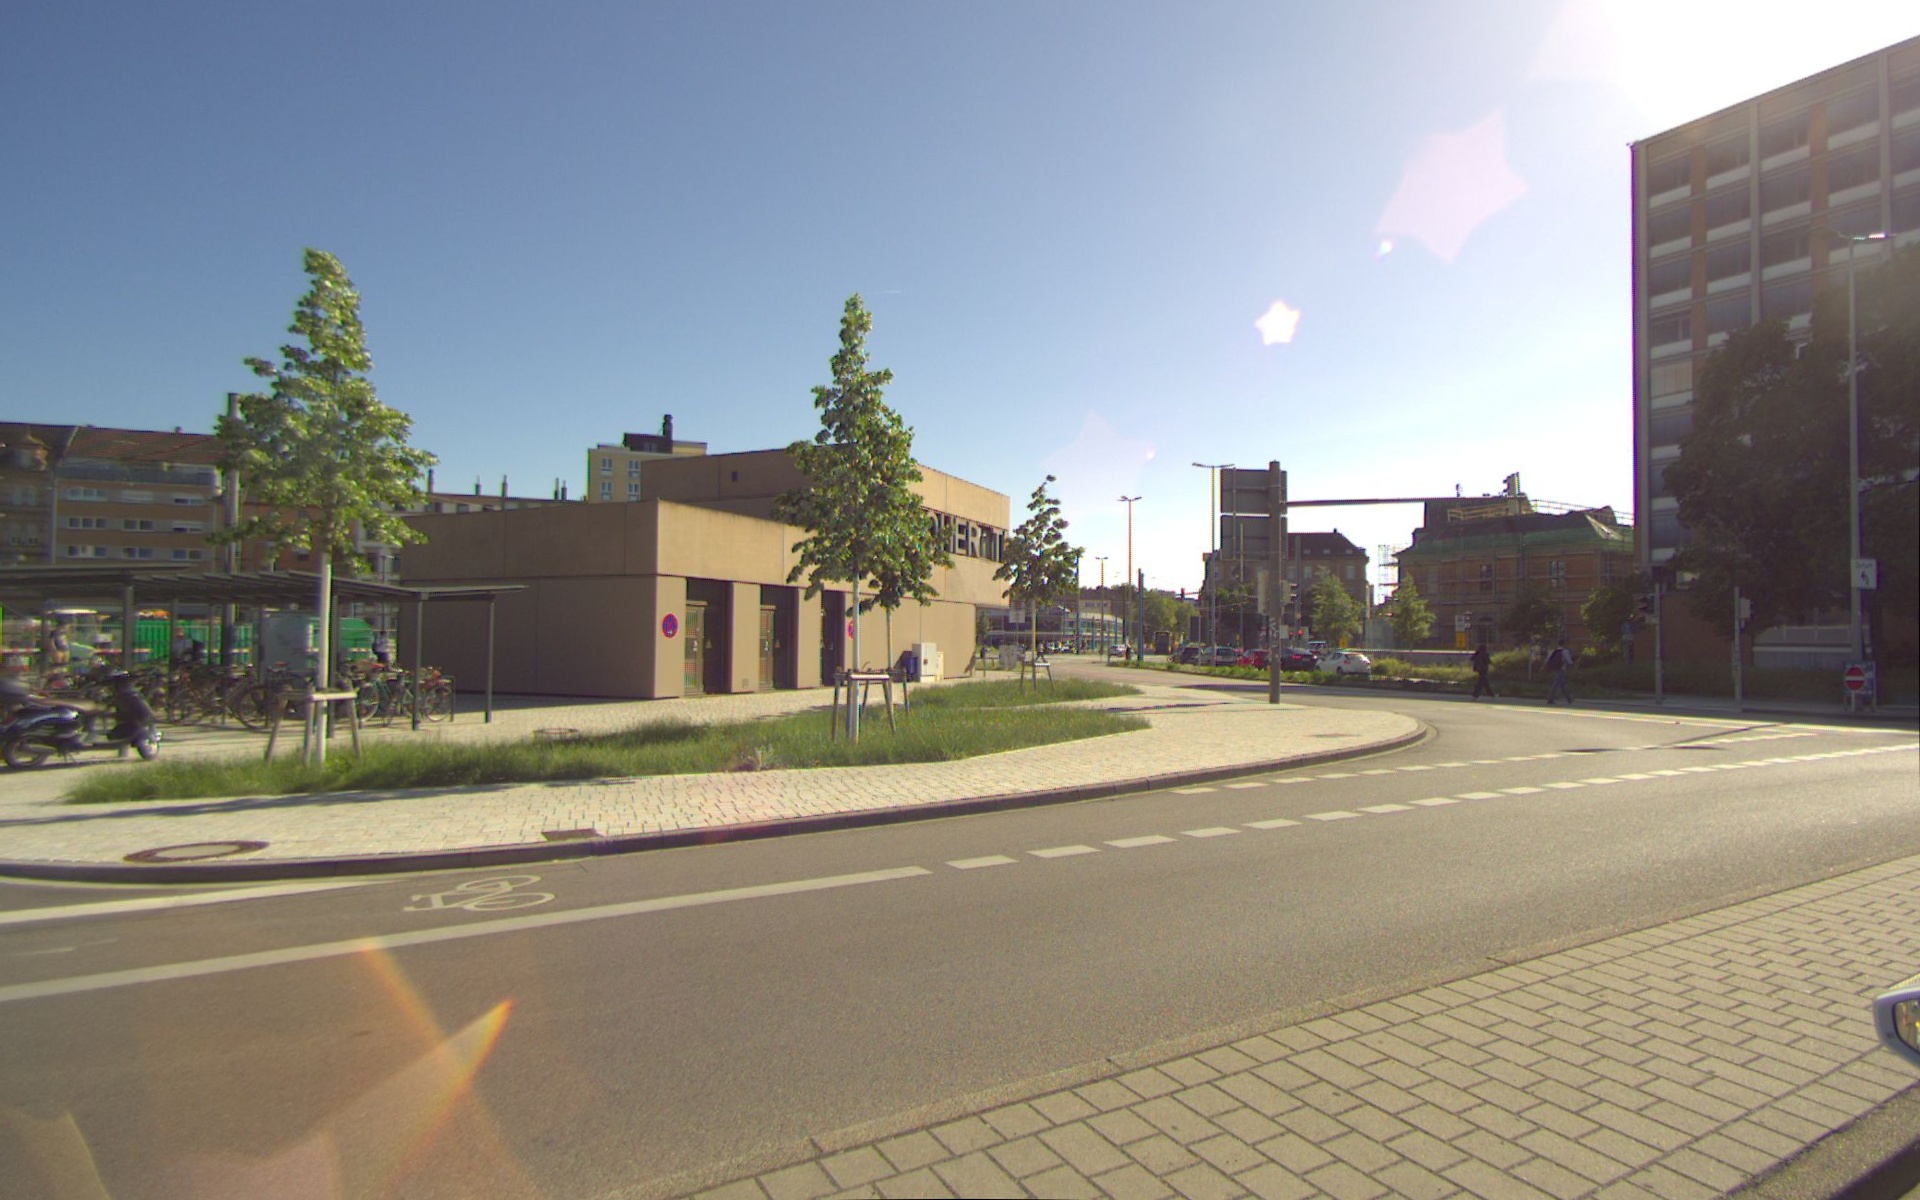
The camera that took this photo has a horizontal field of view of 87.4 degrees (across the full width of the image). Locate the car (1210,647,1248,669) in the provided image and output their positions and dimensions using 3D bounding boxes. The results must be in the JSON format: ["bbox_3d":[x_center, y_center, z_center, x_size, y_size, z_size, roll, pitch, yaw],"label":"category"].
[{"bbox_3d":[20.246,4.351,75.666,1.697,1.461,3.799,3,-2,-2],"label":"car"}]

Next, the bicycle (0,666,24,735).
[{"bbox_3d":[-15.210,1.514,14.935,0.557,1.051,1.788,-1,-3,22],"label":"bicycle"}]

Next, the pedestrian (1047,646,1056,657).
[{"bbox_3d":[11.747,6.597,128.398,0.855,1.427,0.688,2,0,-32],"label":"pedestrian"}]

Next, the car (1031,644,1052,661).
[{"bbox_3d":[11.085,7.097,136.556,1.960,2.040,4.001,2,0,16],"label":"car"}]

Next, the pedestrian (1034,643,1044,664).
[{"bbox_3d":[6.555,4.426,83.191,0.643,1.632,0.676,2,0,-4],"label":"pedestrian"}]

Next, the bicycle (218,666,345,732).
[{"bbox_3d":[-11.679,1.683,17.365,0.557,1.051,1.788,-1,-3,22],"label":"bicycle"}]

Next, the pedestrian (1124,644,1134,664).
[{"bbox_3d":[13.853,4.448,82.505,0.566,1.632,0.565,2,0,-30],"label":"pedestrian"}]

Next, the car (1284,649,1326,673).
[{"bbox_3d":[25.873,4.565,75.462,1.846,1.638,3.626,2,-3,0],"label":"car"}]

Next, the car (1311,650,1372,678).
[{"bbox_3d":[21.258,3.568,56.053,1.665,1.454,3.733,1,-2,-7],"label":"car"}]

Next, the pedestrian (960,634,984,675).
[{"bbox_3d":[0.516,2.327,42.826,0.778,1.745,0.594,-2,-5,38],"label":"pedestrian"}]

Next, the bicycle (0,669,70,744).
[{"bbox_3d":[-14.018,1.529,14.408,0.557,1.051,1.788,-1,-3,22],"label":"bicycle"}]

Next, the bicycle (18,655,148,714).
[{"bbox_3d":[-16.626,1.582,19.097,0.557,1.051,1.788,-1,-3,22],"label":"bicycle"}]

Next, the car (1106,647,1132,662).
[{"bbox_3d":[19.280,6.598,121.772,1.755,1.565,3.632,2,0,31],"label":"car"}]

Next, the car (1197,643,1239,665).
[{"bbox_3d":[17.525,3.659,68.288,1.697,1.461,3.798,1,-2,-3],"label":"car"}]

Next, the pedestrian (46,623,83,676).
[{"bbox_3d":[-26.084,1.441,29.267,0.550,1.538,0.588,0,-2,25],"label":"pedestrian"}]

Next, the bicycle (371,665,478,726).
[{"bbox_3d":[-9.851,1.732,18.548,0.557,1.051,1.788,-1,-3,22],"label":"bicycle"}]

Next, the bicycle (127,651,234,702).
[{"bbox_3d":[-16.871,1.645,21.791,0.557,1.051,1.788,-1,-3,22],"label":"bicycle"}]

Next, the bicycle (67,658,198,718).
[{"bbox_3d":[-15.245,1.591,18.558,0.557,1.051,1.788,-1,-3,22],"label":"bicycle"}]

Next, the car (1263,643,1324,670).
[{"bbox_3d":[20.855,3.515,63.035,1.953,1.645,4.374,1,-2,-7],"label":"car"}]

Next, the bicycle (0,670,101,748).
[{"bbox_3d":[-13.335,1.524,14.153,0.557,1.051,1.788,-1,-3,22],"label":"bicycle"}]

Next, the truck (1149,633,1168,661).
[{"bbox_3d":[28.792,6.752,145.581,2.549,3.723,5.229,2,0,10],"label":"truck"}]

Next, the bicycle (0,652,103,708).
[{"bbox_3d":[-17.868,1.537,19.505,0.557,1.051,1.788,-1,-3,22],"label":"bicycle"}]

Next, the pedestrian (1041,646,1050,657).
[{"bbox_3d":[10.865,6.567,127.865,0.855,1.427,0.688,2,0,-32],"label":"pedestrian"}]

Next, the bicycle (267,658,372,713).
[{"bbox_3d":[-12.928,1.709,20.338,0.557,1.051,1.788,-1,-3,22],"label":"bicycle"}]

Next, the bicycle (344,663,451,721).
[{"bbox_3d":[-10.641,1.719,19.076,0.557,1.051,1.788,-1,-3,22],"label":"bicycle"}]

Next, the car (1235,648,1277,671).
[{"bbox_3d":[20.325,4.057,69.069,1.644,1.461,3.722,3,-2,-2],"label":"car"}]

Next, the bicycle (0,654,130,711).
[{"bbox_3d":[-17.188,1.560,19.334,0.557,1.051,1.788,-1,-3,22],"label":"bicycle"}]

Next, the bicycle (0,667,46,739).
[{"bbox_3d":[-14.595,1.513,14.650,0.557,1.051,1.788,-1,-3,22],"label":"bicycle"}]

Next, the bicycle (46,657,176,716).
[{"bbox_3d":[-15.887,1.589,18.855,0.557,1.051,1.788,-1,-3,22],"label":"bicycle"}]

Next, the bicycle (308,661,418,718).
[{"bbox_3d":[-11.651,1.722,19.660,0.558,1.051,1.785,-2,-4,30],"label":"bicycle"}]

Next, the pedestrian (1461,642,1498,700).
[{"bbox_3d":[14.837,2.024,28.694,0.669,1.633,0.719,1,-2,-8],"label":"pedestrian"}]

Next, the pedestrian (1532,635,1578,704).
[{"bbox_3d":[16.433,1.915,27.741,1.086,1.856,0.748,4,-3,-38],"label":"pedestrian"}]

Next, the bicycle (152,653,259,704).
[{"bbox_3d":[-16.194,1.664,21.606,0.557,1.051,1.788,-1,-3,22],"label":"bicycle"}]

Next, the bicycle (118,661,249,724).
[{"bbox_3d":[-13.843,1.631,17.963,0.557,1.051,1.788,-1,-3,22],"label":"bicycle"}]

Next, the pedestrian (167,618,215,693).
[{"bbox_3d":[-18.354,1.321,23.984,0.606,1.746,0.681,1,-2,-8],"label":"pedestrian"}]

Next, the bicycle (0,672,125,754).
[{"bbox_3d":[-12.786,1.546,13.928,0.557,1.051,1.788,-1,-3,22],"label":"bicycle"}]

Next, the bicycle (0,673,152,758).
[{"bbox_3d":[-12.188,1.541,13.668,0.557,1.051,1.788,-1,-3,22],"label":"bicycle"}]

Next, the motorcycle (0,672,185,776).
[{"bbox_3d":[-10.930,1.498,12.484,0.584,1.134,1.983,0,-2,26],"label":"motorcycle"}]

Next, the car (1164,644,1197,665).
[{"bbox_3d":[16.433,4.054,75.100,1.696,1.461,3.912,3,-2,2],"label":"car"}]

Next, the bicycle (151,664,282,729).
[{"bbox_3d":[-12.948,1.656,17.561,0.557,1.051,1.788,-1,-3,22],"label":"bicycle"}]

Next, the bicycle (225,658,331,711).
[{"bbox_3d":[-14.099,1.724,20.809,0.557,1.051,1.788,-1,-3,22],"label":"bicycle"}]
